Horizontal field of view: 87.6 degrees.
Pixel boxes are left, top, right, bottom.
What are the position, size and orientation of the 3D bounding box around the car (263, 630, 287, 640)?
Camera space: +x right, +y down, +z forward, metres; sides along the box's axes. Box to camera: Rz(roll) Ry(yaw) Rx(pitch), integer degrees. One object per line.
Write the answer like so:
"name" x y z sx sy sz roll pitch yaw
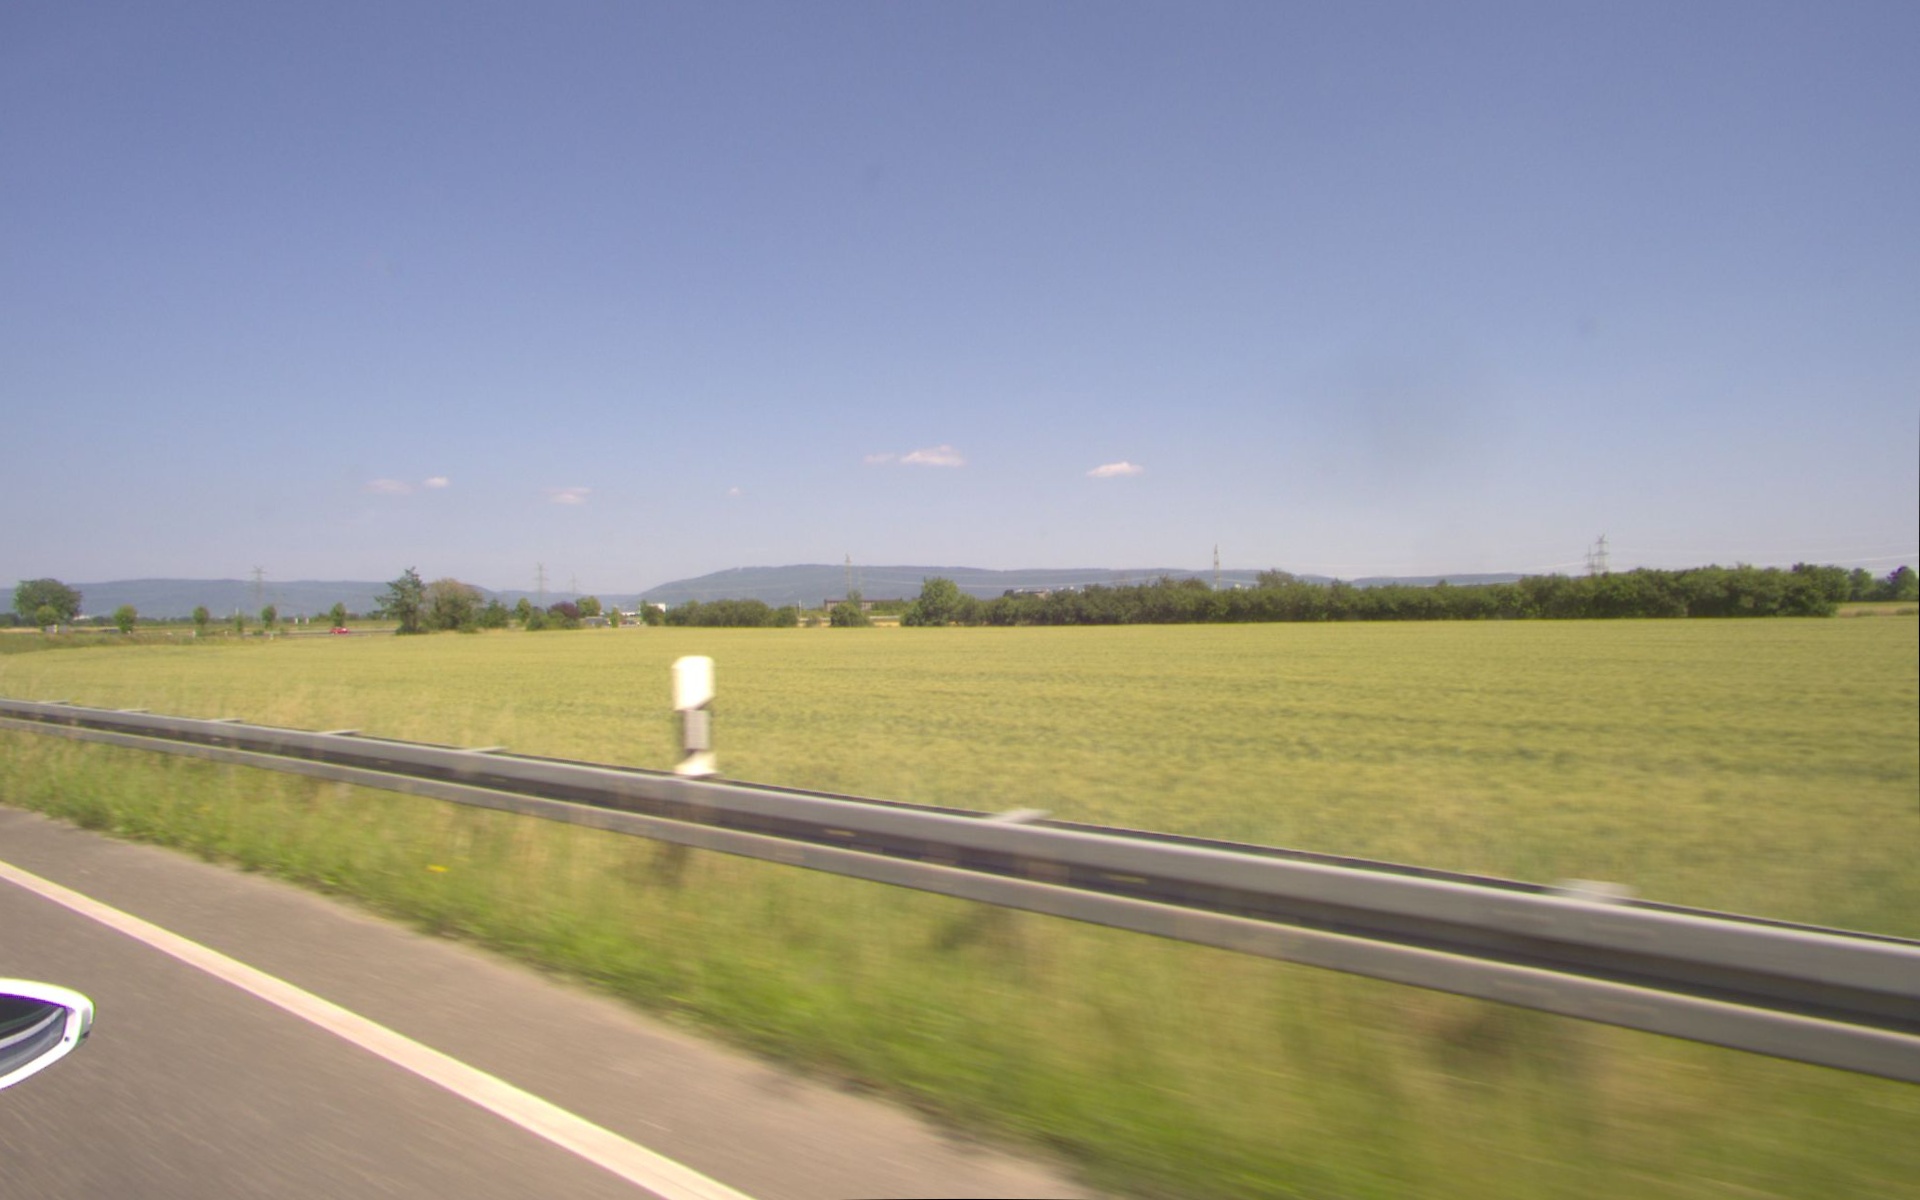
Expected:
"car" -108.830 5.568 159.124 1.617 1.504 3.487 0 -2 -1
